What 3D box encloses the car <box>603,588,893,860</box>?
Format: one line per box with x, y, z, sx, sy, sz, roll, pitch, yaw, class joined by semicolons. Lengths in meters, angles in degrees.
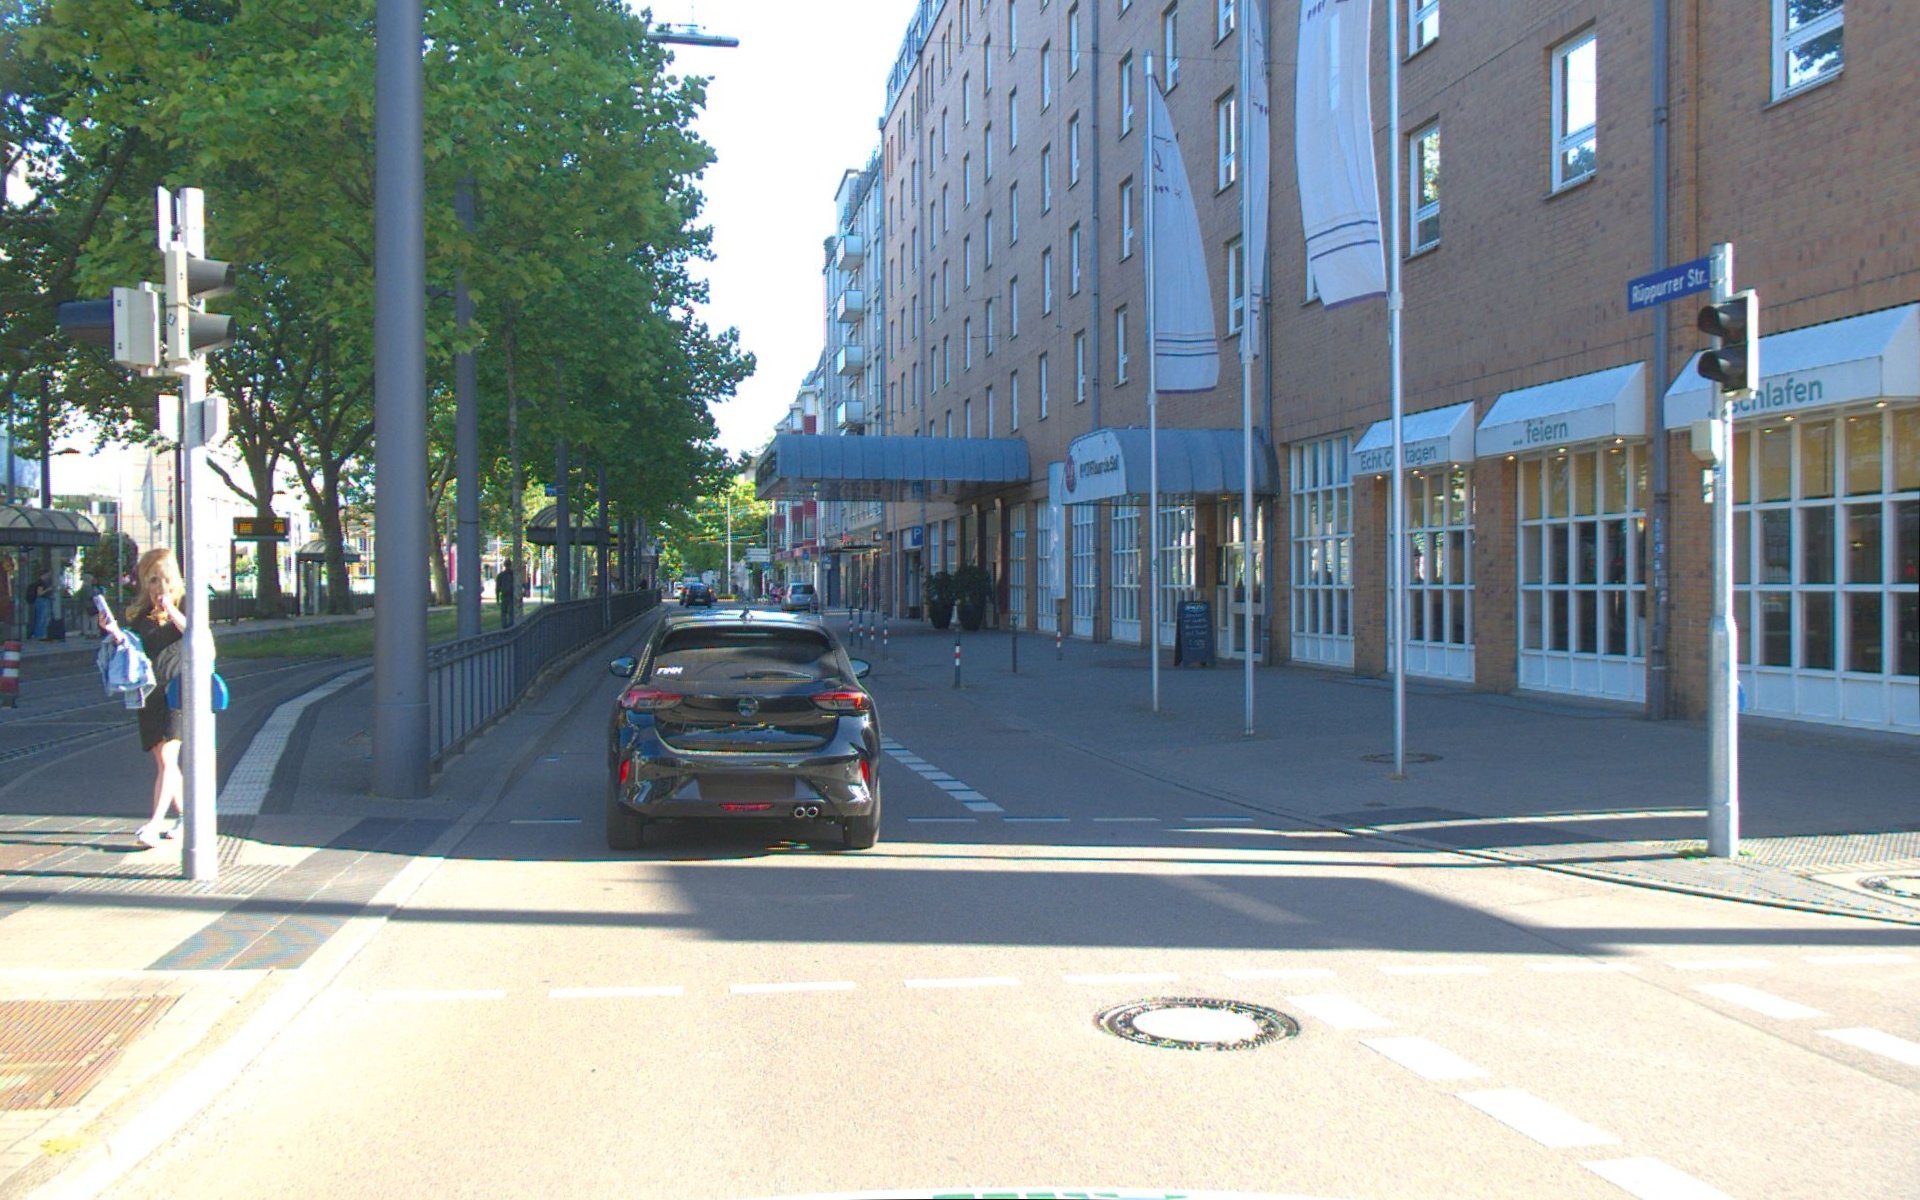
-1.505;0.696;11.282;1.641;1.528;3.682;0;0;-10;car

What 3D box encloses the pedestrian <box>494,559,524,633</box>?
-10.474;-0.097;38.456;0.593;1.709;0.485;-1;0;-10;pedestrian

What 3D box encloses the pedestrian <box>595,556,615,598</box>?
-11.691;-0.752;54.491;0.593;1.389;0.485;-1;0;-10;pedestrian

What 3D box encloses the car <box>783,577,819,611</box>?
-8.254;-0.321;85.511;1.641;1.681;3.683;1;1;-9;car

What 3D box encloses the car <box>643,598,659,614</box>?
-32.155;0.634;172.271;1.584;1.528;3.682;1;1;-10;car

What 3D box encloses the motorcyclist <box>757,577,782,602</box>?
-13.682;-0.750;118.862;1.296;1.727;1.219;1;0;-40;motorcyclist

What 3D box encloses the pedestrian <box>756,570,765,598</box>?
-21.261;-1.710;176.319;0.900;2.922;1.147;1;0;-11;pedestrian

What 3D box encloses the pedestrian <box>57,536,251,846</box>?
-4.657;0.500;9.604;0.699;1.709;0.831;-1;0;-1;pedestrian

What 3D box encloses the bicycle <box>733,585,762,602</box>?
-16.926;-0.526;131.832;2.311;1.255;0.682;1;0;-8;bicycle

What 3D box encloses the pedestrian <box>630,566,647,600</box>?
-14.171;-0.738;72.834;0.709;1.470;0.625;1;0;-13;pedestrian

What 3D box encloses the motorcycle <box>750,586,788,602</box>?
-13.759;-0.438;118.939;1.296;1.077;3.054;1;1;-39;motorcycle

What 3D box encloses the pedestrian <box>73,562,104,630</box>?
-20.760;-0.108;39.404;0.491;1.600;0.493;1;2;-6;pedestrian

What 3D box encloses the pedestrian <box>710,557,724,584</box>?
-26.887;-3.287;182.930;1.141;2.922;0.905;0;0;-43;pedestrian

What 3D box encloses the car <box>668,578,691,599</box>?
-20.865;-0.840;122.961;1.584;1.528;3.682;1;1;-10;car

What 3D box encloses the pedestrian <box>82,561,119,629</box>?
-20.795;-0.125;40.011;0.552;1.600;0.639;1;2;2;pedestrian

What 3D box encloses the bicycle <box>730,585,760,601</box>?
-16.939;-0.568;130.053;2.311;1.255;0.682;1;0;-8;bicycle

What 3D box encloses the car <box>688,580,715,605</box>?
-16.262;-0.491;104.020;1.584;1.528;3.682;1;1;-10;car

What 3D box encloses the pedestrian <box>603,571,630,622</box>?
-9.955;-0.099;47.928;0.709;1.470;0.625;1;0;-13;pedestrian

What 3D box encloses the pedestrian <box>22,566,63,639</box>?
-20.599;0.054;37.129;0.475;1.600;0.670;2;2;33;pedestrian
